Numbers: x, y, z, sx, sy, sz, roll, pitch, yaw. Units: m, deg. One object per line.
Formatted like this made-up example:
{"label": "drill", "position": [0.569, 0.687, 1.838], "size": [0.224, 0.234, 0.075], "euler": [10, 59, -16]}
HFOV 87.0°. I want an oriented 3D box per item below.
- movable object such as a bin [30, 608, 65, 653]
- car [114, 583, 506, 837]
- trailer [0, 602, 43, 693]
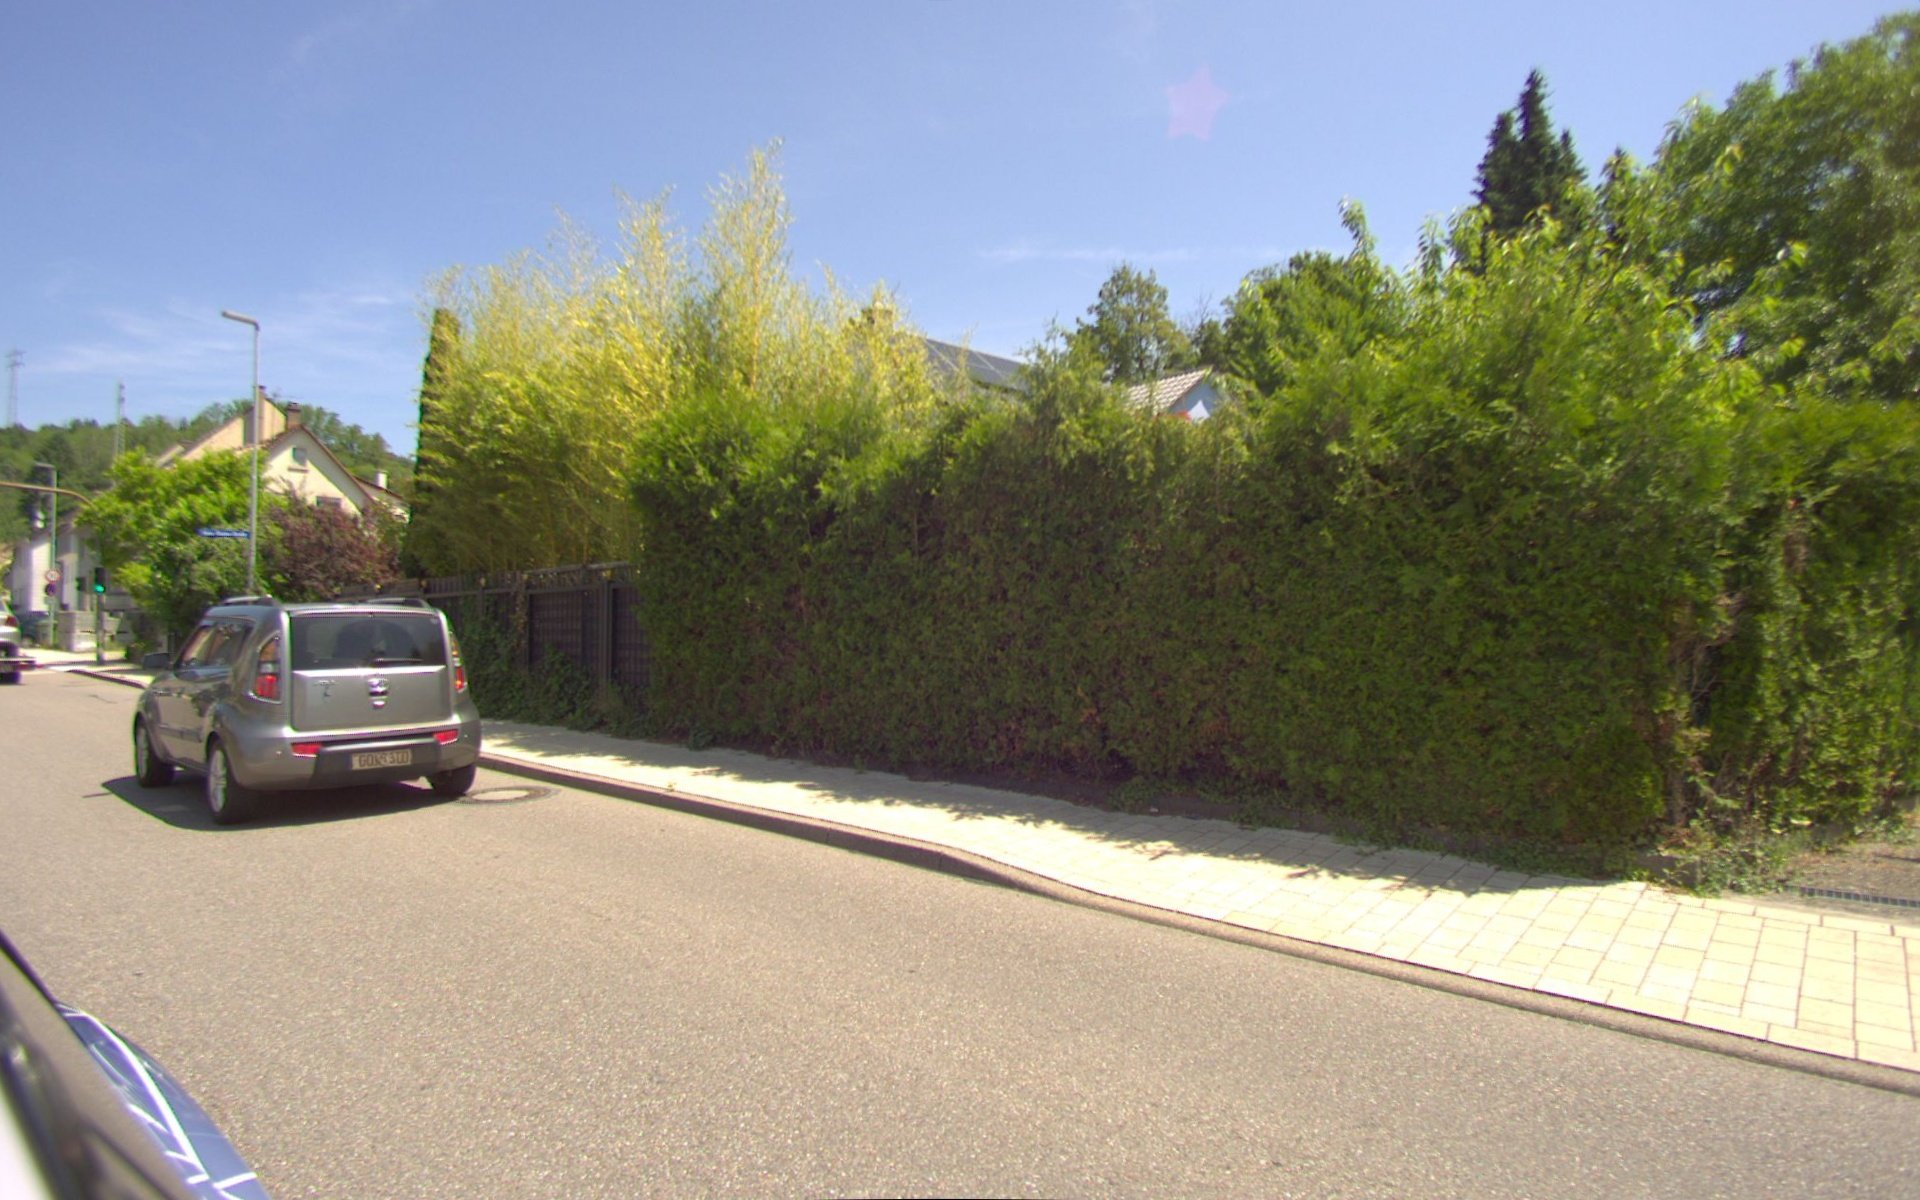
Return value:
{"label": "movable object such as a bin", "position": [-41.582, 1.378, 46.114], "size": [1.323, 2.029, 1.048], "euler": [0, -1, 42]}
{"label": "car", "position": [-5.685, 0.771, 8.660], "size": [3.947, 1.665, 1.848], "euler": [-2, -2, 42]}
{"label": "trailer", "position": [-23.720, 1.056, 23.996], "size": [6.197, 2.002, 2.134], "euler": [0, 0, 40]}
